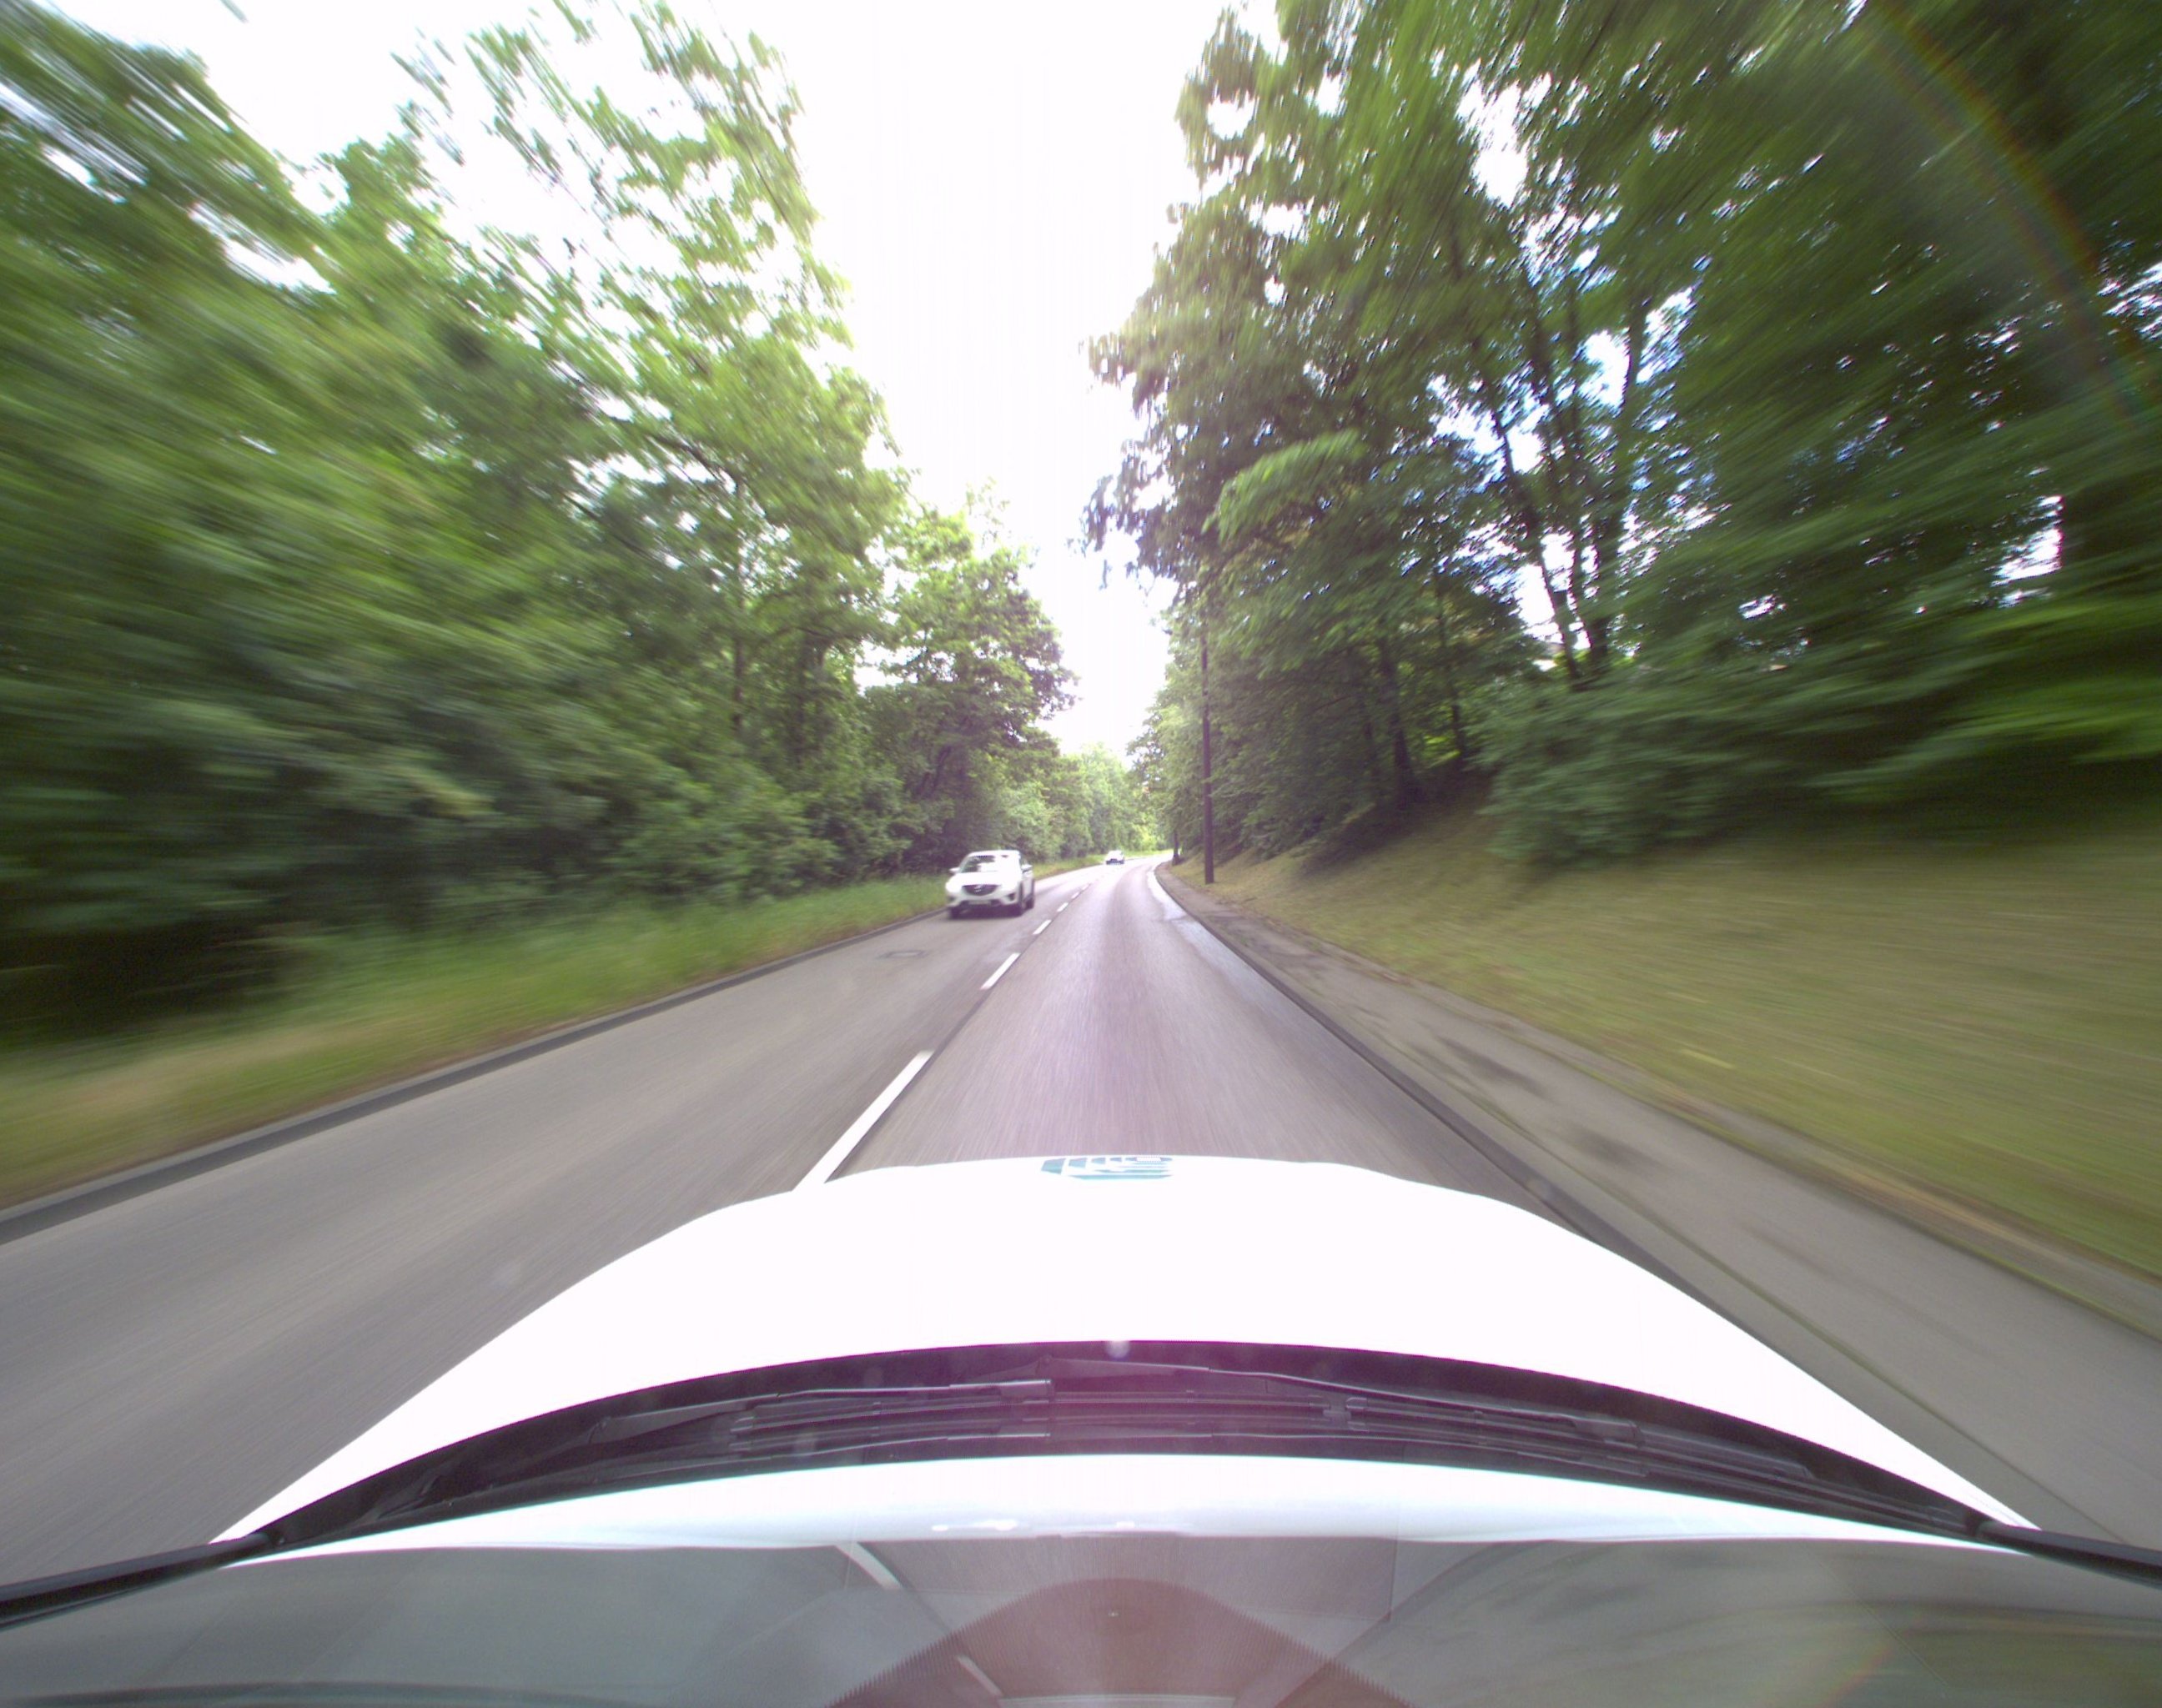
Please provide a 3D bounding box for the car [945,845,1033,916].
[{"bbox_3d":[-2.352,0.663,21.857,1.812,1.695,4.288,0,-1,1],"label":"car"}]

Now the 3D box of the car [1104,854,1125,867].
[{"bbox_3d":[3.723,0.743,90.888,1.990,1.437,3.994,0,-1,-4],"label":"car"}]
